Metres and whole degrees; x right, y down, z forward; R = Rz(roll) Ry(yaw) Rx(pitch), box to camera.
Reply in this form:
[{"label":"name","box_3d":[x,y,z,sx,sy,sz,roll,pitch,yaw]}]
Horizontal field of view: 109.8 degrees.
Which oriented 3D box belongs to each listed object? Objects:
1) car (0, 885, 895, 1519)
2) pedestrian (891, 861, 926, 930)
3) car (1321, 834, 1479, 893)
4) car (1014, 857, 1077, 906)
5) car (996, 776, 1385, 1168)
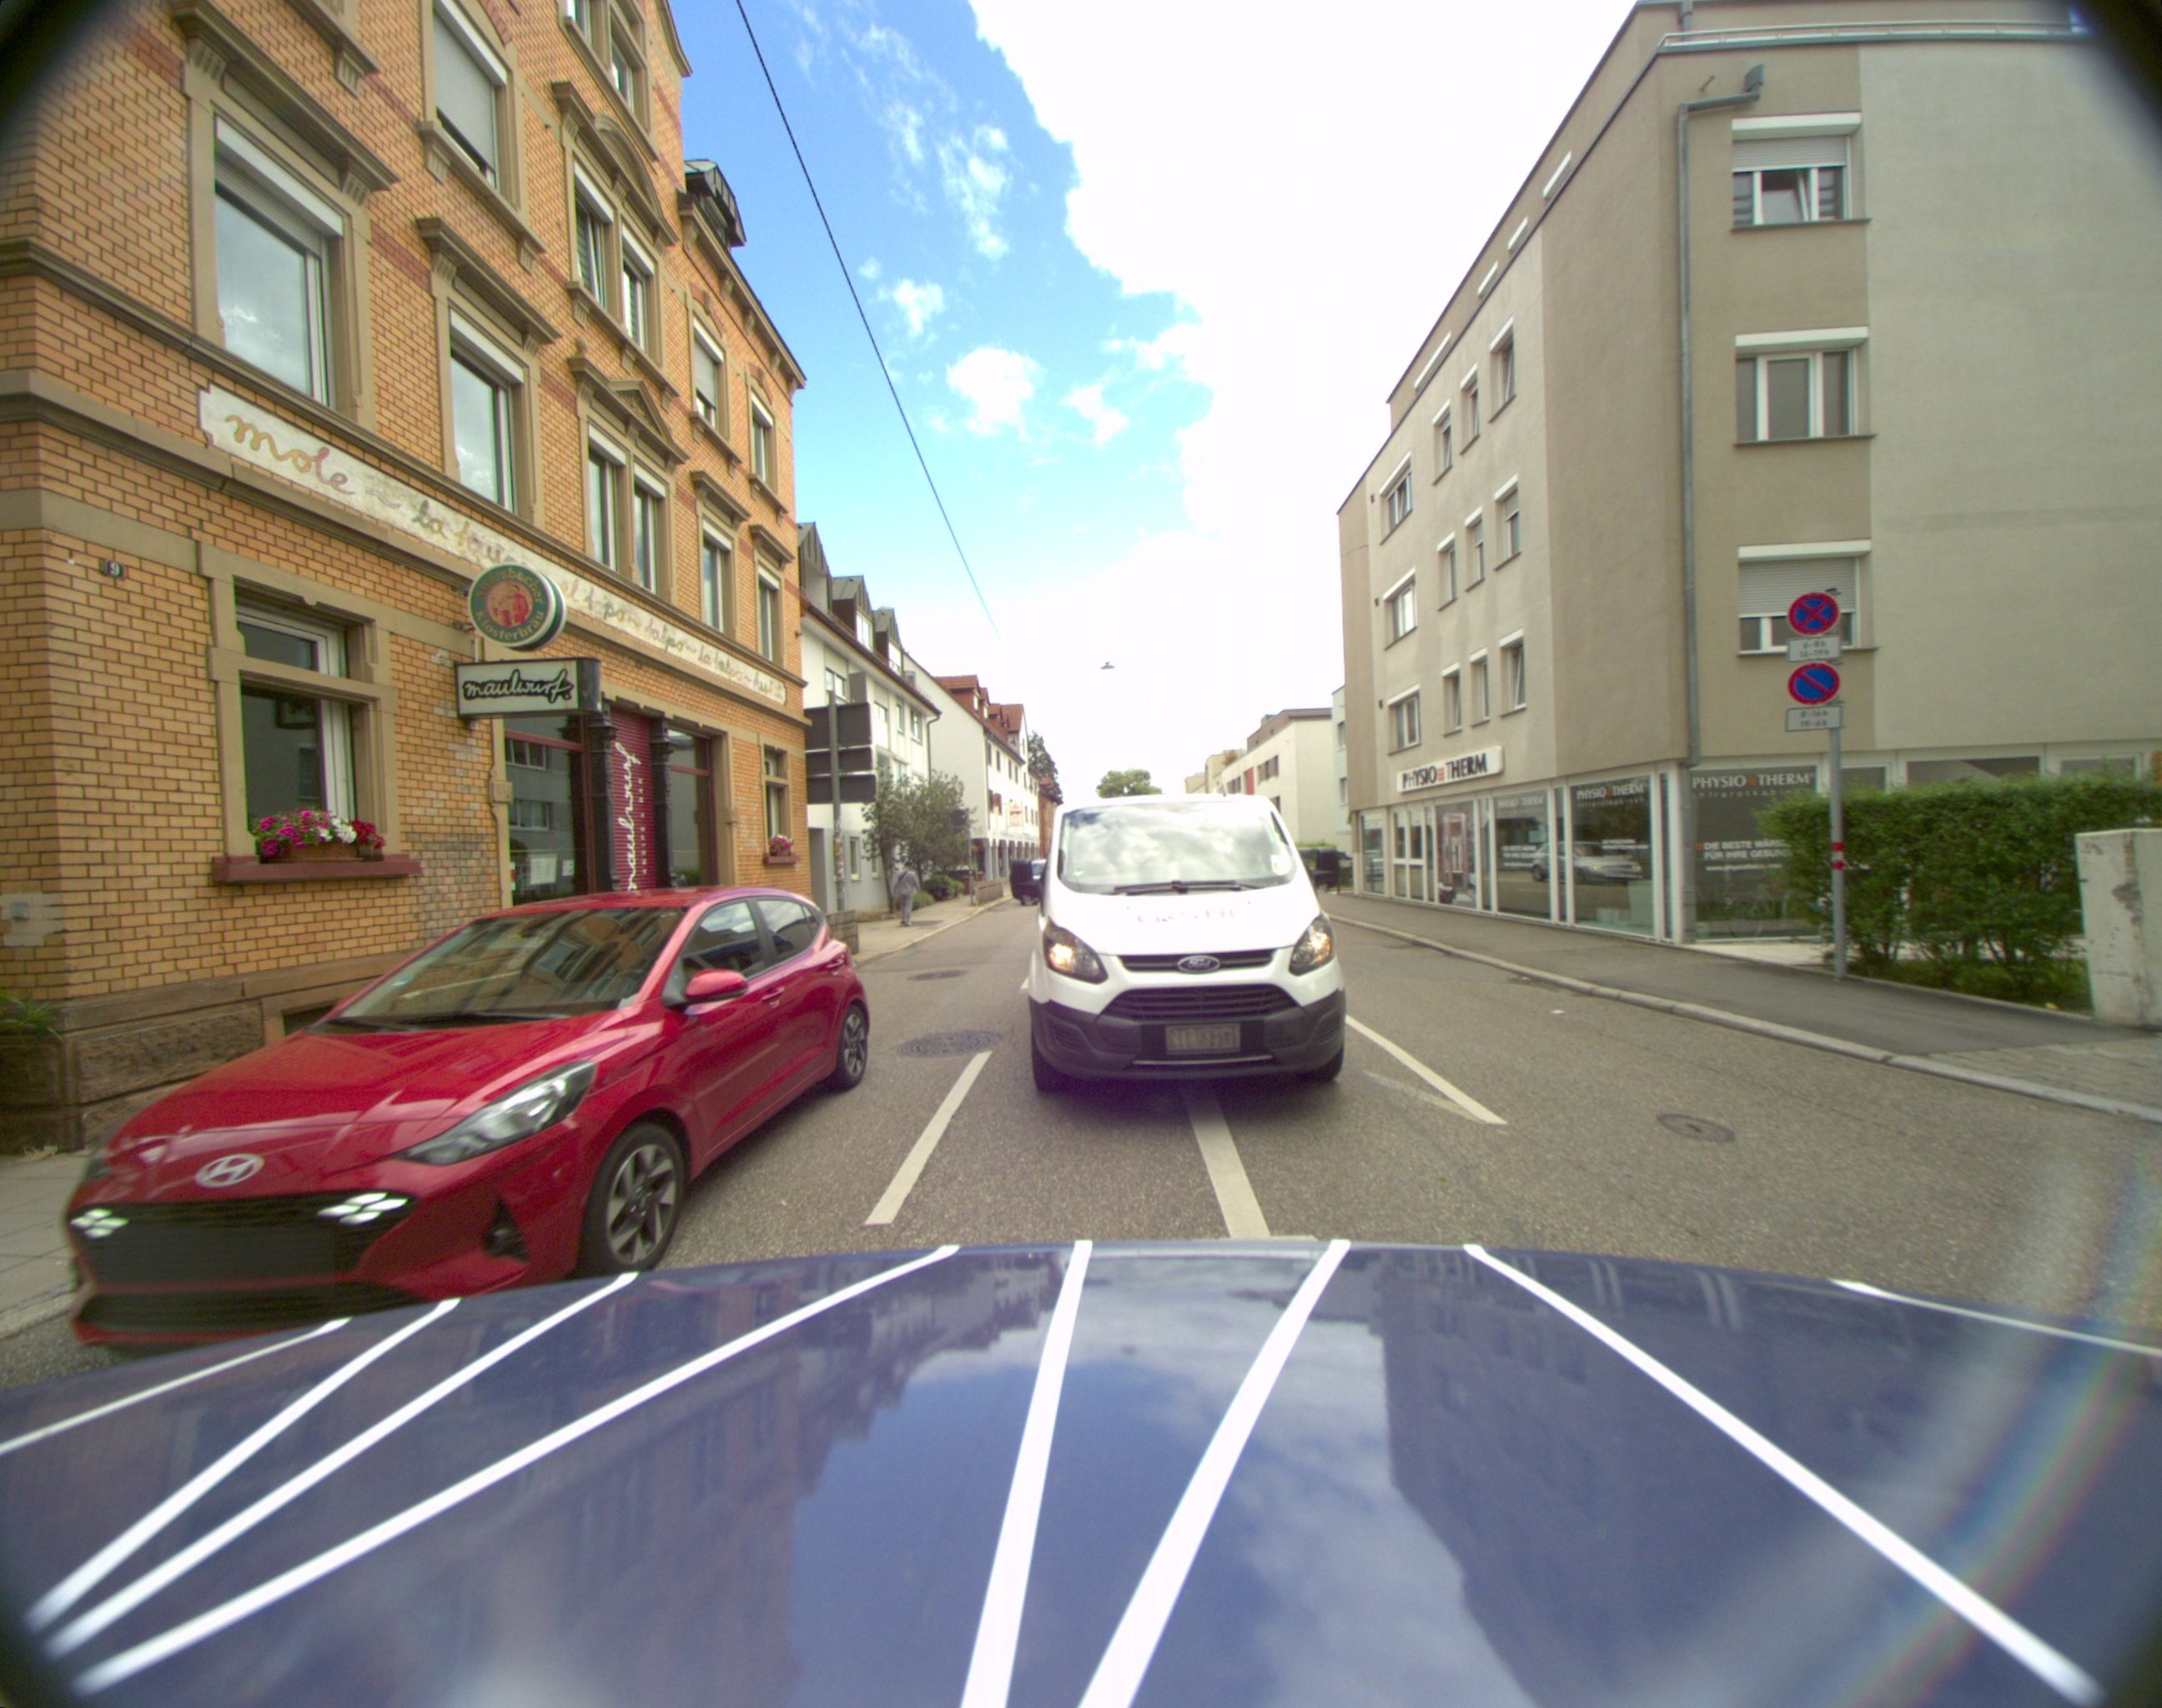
[{"label":"car","box_3d":[-2.508,1.038,4.014,1.702,1.444,4.001,-4,0,4]},{"label":"pedestrian","box_3d":[-4.429,1.062,19.559,0.690,1.721,0.650,-2,1,0]},{"label":"car","box_3d":[11.868,0.337,28.563,5.082,1.986,1.967,-2,0,4]},{"label":"car","box_3d":[-1.233,0.966,28.561,1.998,1.537,4.570,-4,0,0]},{"label":"car","box_3d":[0.587,0.614,6.501,1.965,1.986,5.087,-2,0,0]}]
